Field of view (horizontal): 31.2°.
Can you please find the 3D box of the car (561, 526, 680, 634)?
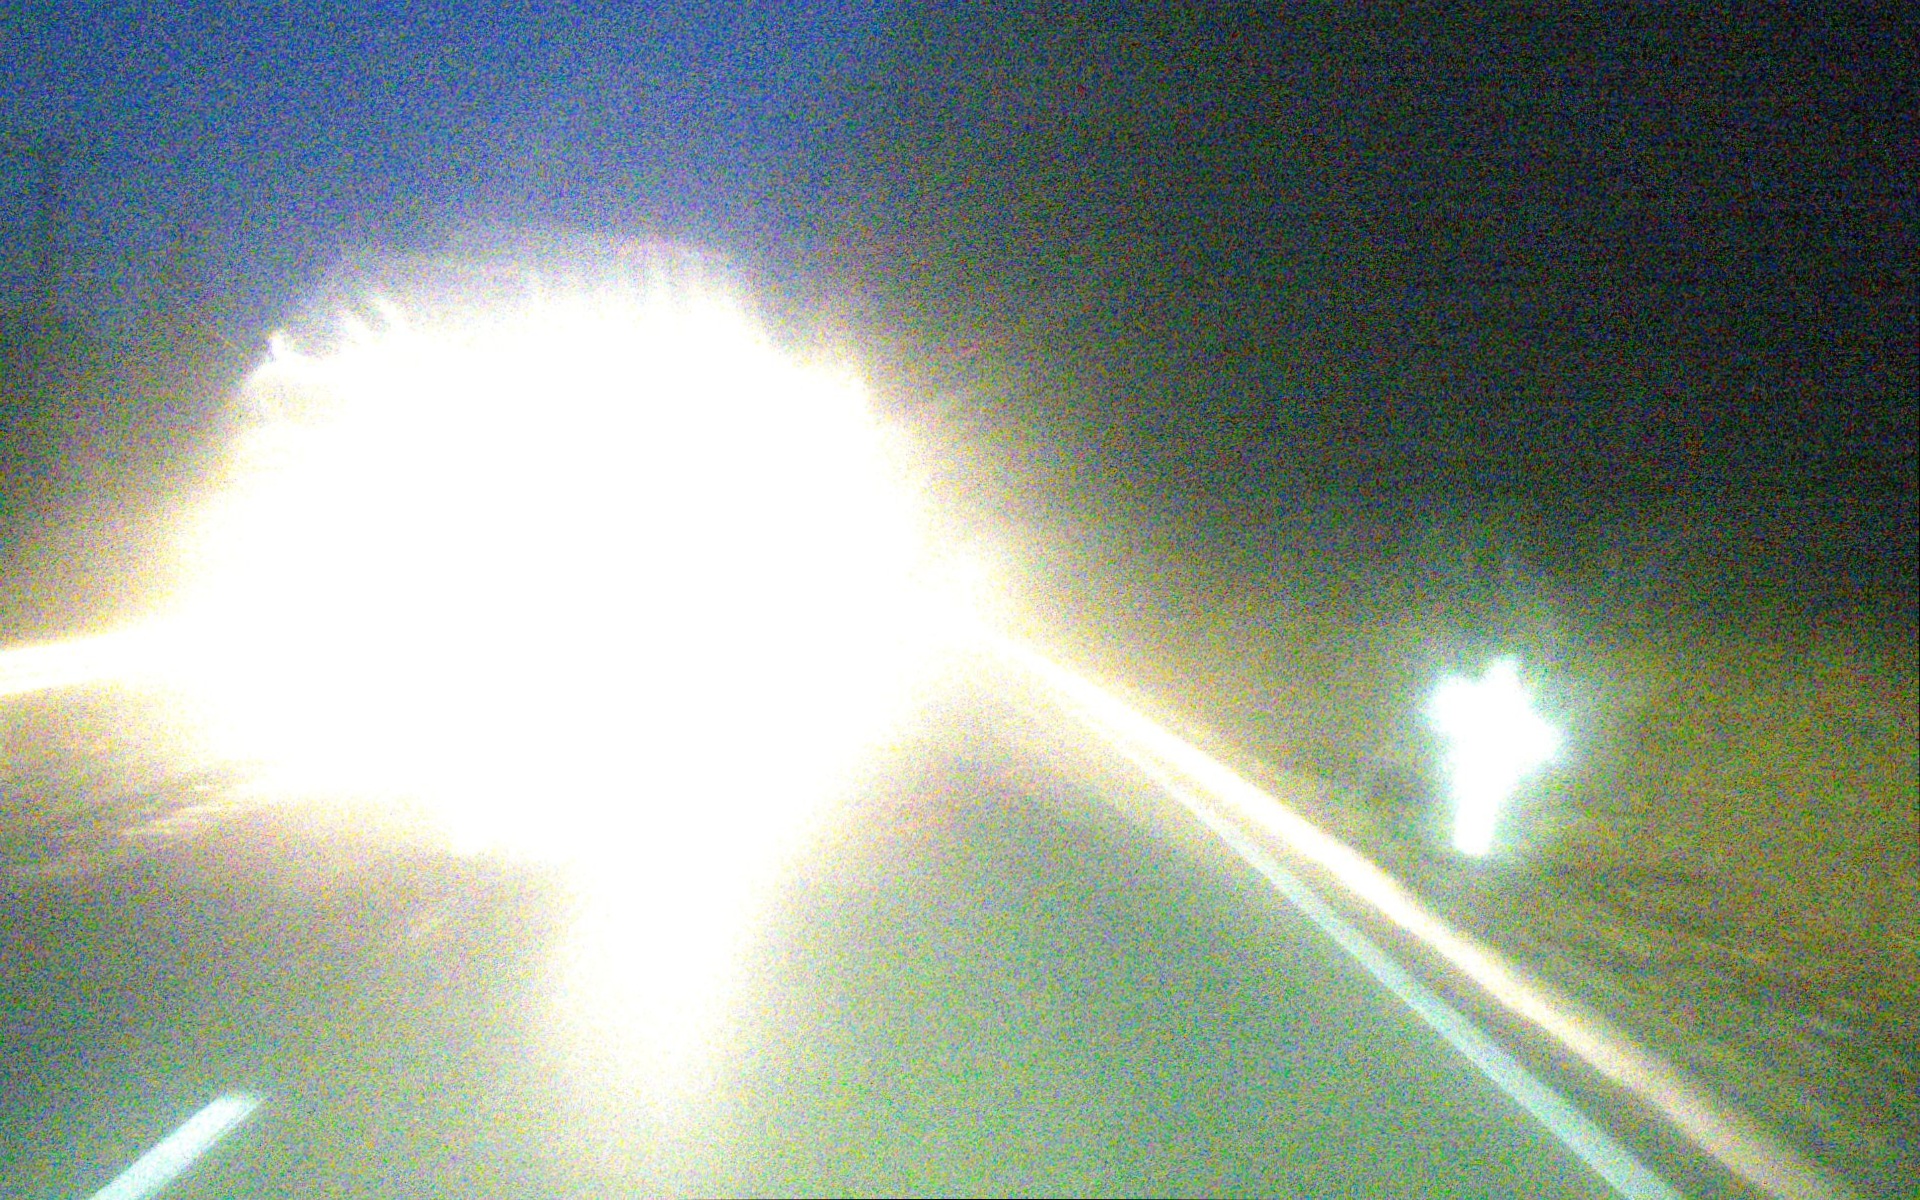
[{"bbox_3d":[-5.553,-0.339,56.617,1.771,1.669,4.055,1,1,-4],"label":"car"}]
